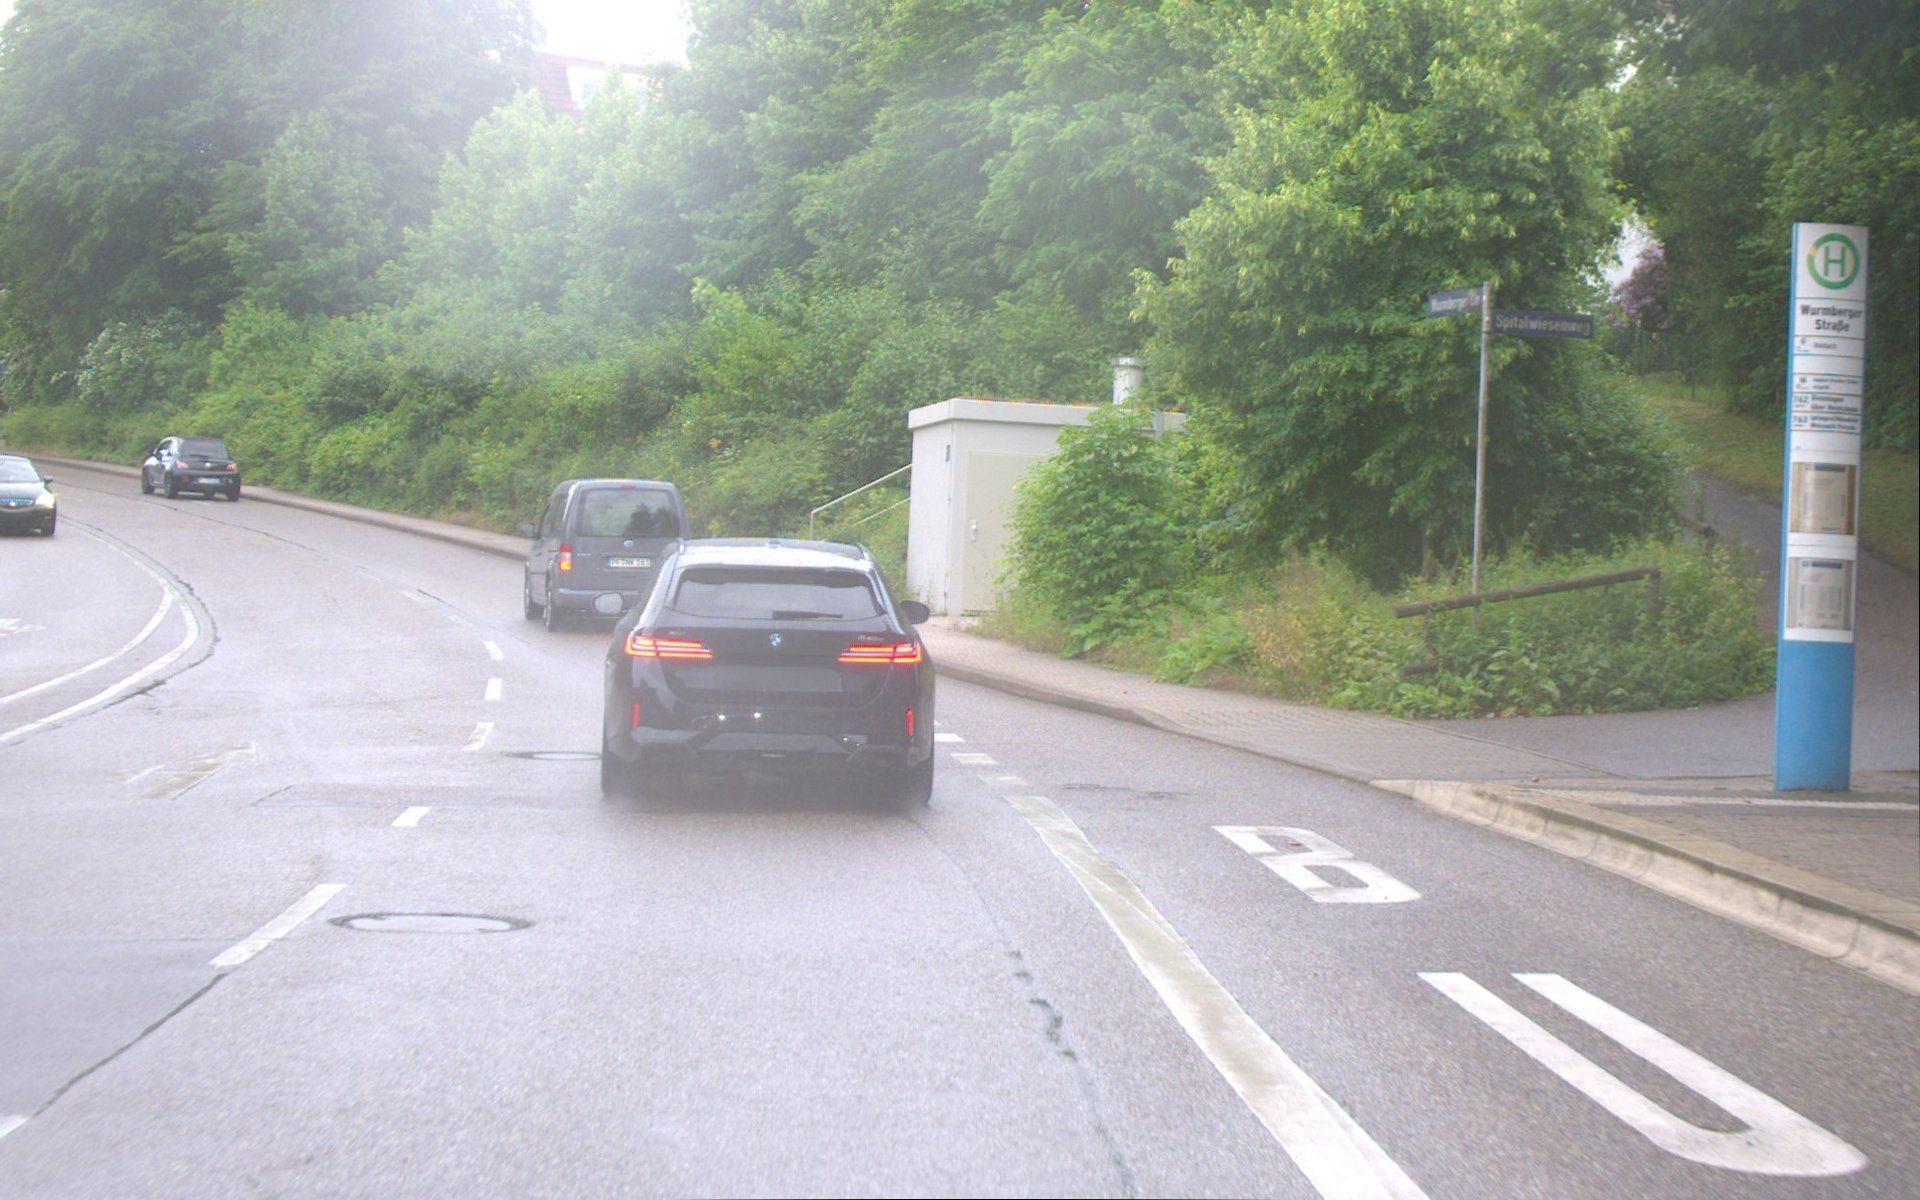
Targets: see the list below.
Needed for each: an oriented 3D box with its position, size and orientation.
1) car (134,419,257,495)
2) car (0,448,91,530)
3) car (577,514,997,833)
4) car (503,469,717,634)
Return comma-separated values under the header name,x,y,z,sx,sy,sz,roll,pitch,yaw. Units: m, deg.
name,x,y,z,sx,sy,sz,roll,pitch,yaw
car,-18.178,-3.367,81.643,1.851,1.656,4.001,2,0,-27
car,-17.658,-2.082,64.881,1.891,1.482,4.235,0,1,-22
car,-1.166,0.341,20.569,1.993,1.580,4.665,2,2,-9
car,-4.347,-0.631,42.161,1.993,1.742,4.002,1,4,-15
